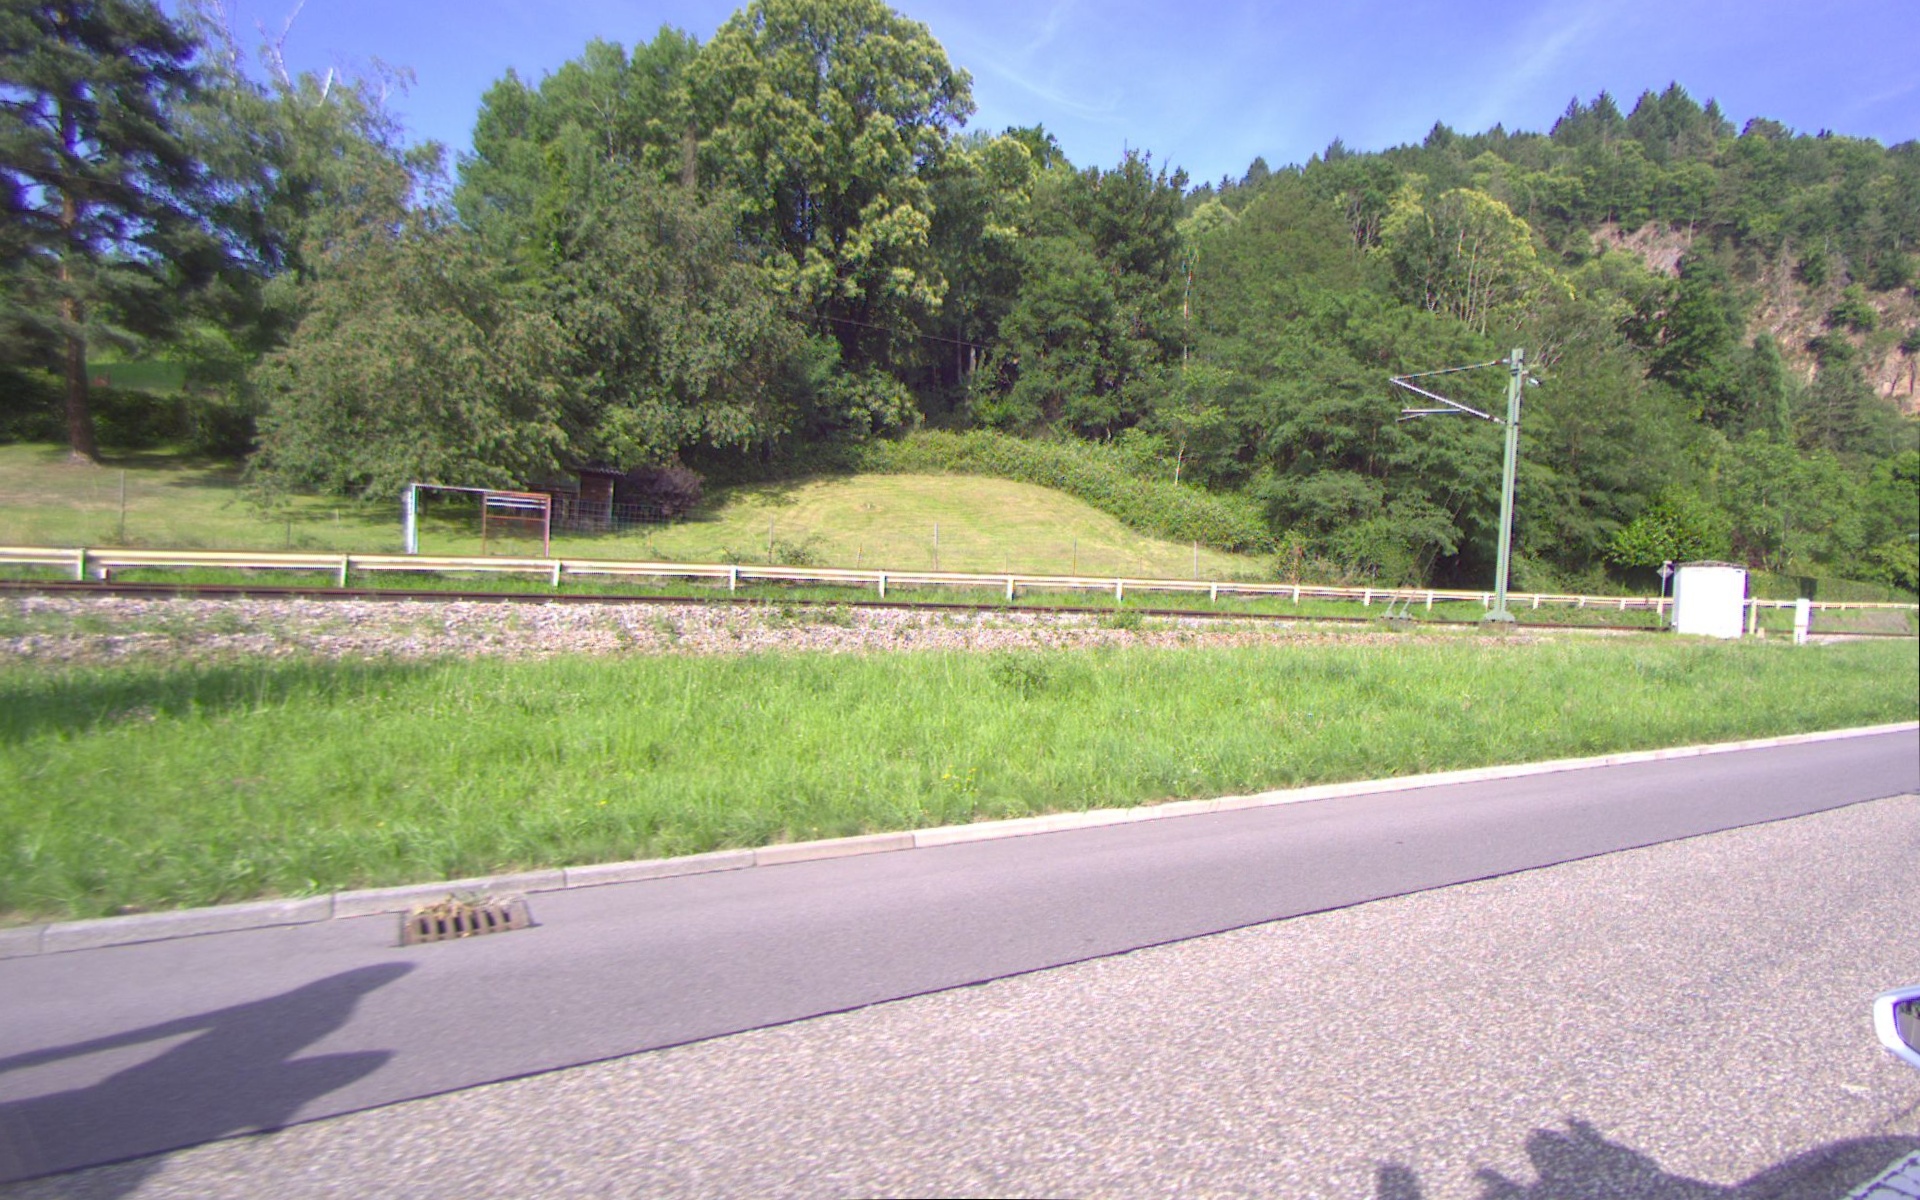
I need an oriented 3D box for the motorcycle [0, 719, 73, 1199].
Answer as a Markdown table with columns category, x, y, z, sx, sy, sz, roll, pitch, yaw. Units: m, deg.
| category | x | y | z | sx | sy | sz | roll | pitch | yaw |
| --- | --- | --- | --- | --- | --- | --- | --- | --- | --- |
| motorcycle | -2.750 | 0.839 | 1.416 | 2.100 | 1.145 | 0.858 | 1 | 1 | -30 |
